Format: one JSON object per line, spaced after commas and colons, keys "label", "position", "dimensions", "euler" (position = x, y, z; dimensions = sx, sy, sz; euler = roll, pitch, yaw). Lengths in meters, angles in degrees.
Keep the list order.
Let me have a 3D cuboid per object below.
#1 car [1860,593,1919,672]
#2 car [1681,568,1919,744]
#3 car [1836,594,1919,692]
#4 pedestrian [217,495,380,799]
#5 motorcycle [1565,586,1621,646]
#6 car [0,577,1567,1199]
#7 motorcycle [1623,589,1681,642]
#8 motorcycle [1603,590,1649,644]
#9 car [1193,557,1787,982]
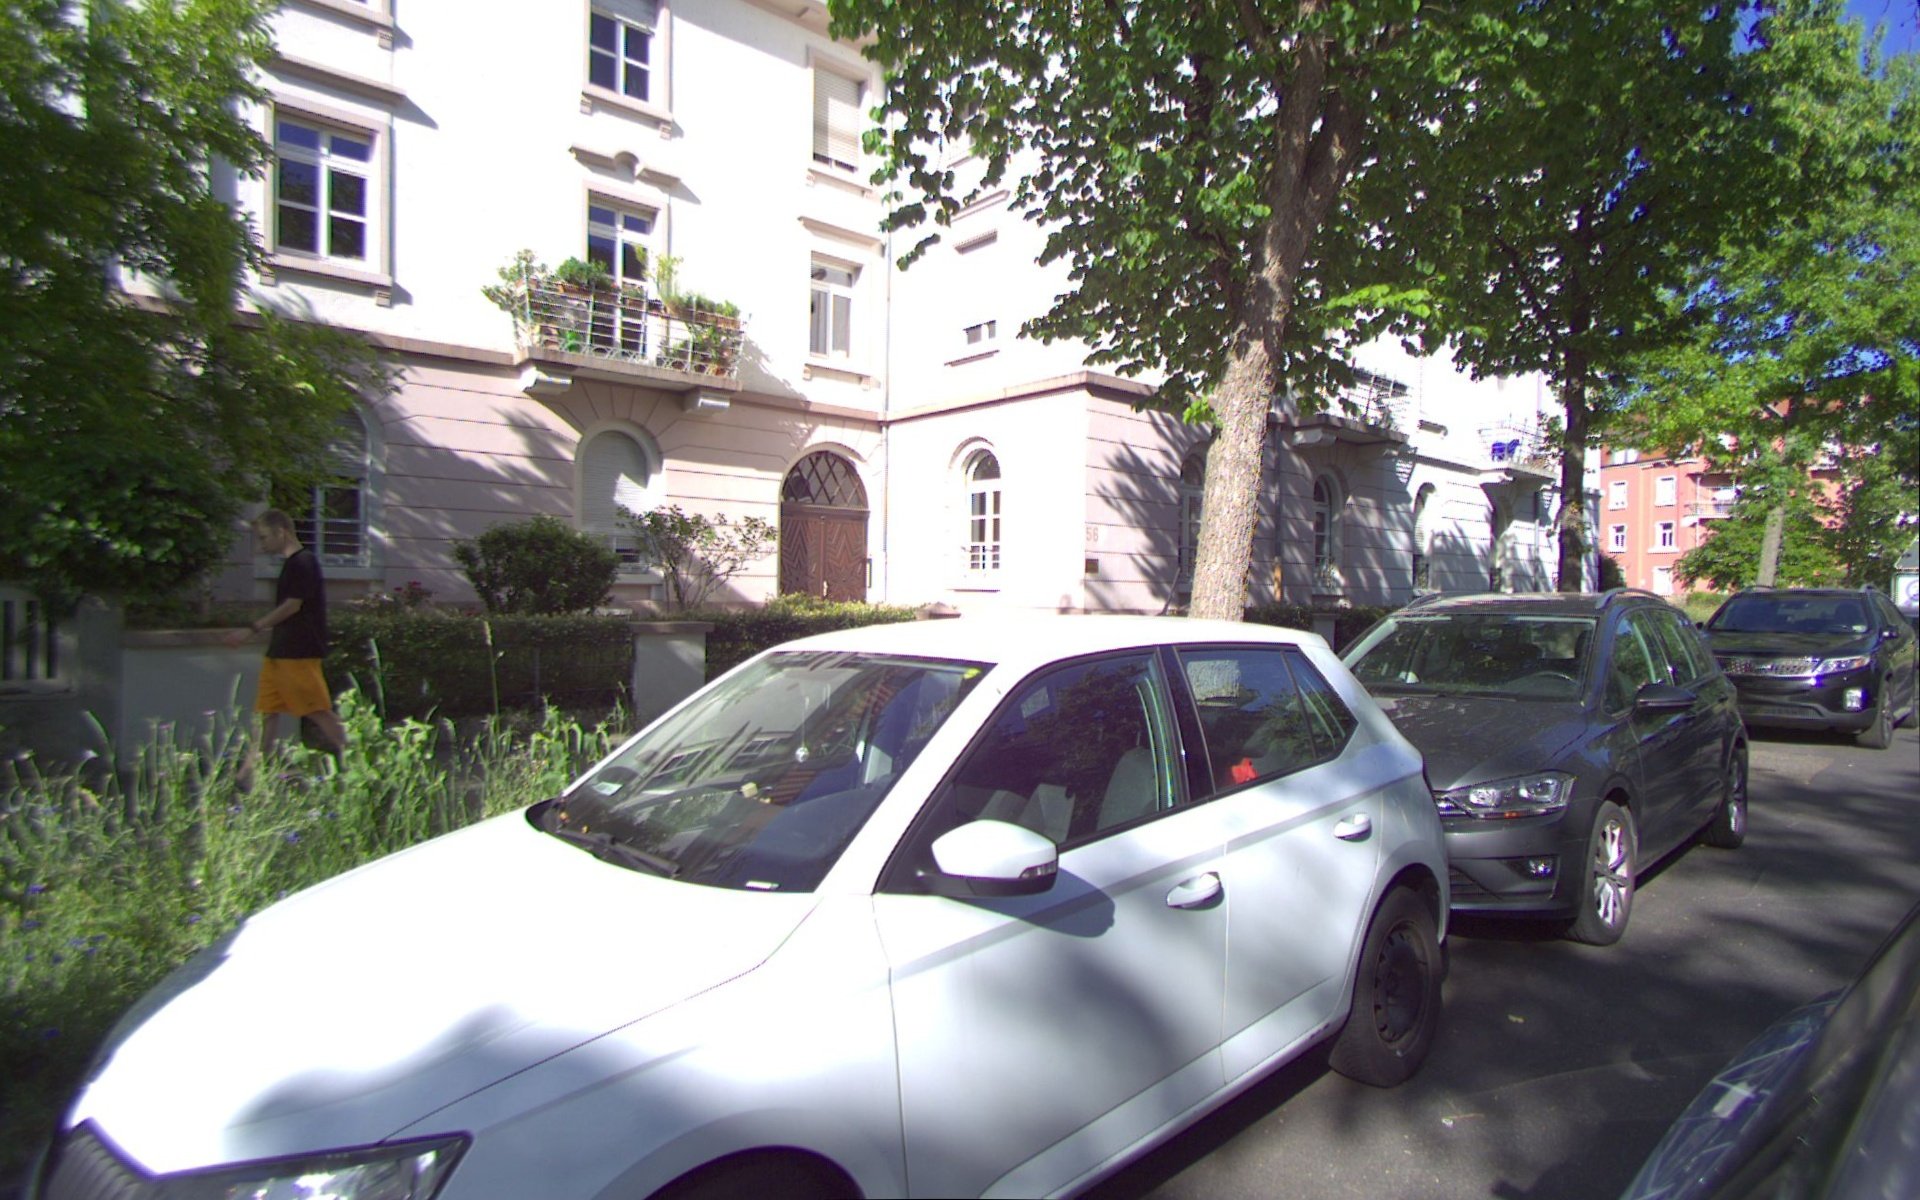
{"label": "car", "position": [19.002, 0.604, 19.782], "dimensions": [4.064, 1.419, 1.655], "euler": [0, 1, -42]}
{"label": "car", "position": [10.217, 0.527, 12.009], "dimensions": [4.223, 1.719, 1.784], "euler": [0, 1, -42]}
{"label": "car", "position": [15.555, 0.635, 16.497], "dimensions": [4.280, 1.427, 1.612], "euler": [0, 1, -45]}
{"label": "pedestrian", "position": [-4.228, 0.265, 6.469], "dimensions": [0.785, 1.797, 0.623], "euler": [0, 1, -41]}
{"label": "motorcycle", "position": [15.019, 0.360, 23.990], "dimensions": [2.053, 1.378, 0.540], "euler": [0, 1, -41]}
{"label": "car", "position": [0.064, 0.699, 2.930], "dimensions": [4.291, 1.442, 1.633], "euler": [0, 2, -41]}
{"label": "motorcycle", "position": [18.224, 0.390, 26.638], "dimensions": [0.970, 1.345, 1.824], "euler": [1, 1, 44]}
{"label": "motorcycle", "position": [16.787, 0.406, 25.491], "dimensions": [0.656, 1.295, 1.772], "euler": [4, 2, 42]}
{"label": "car", "position": [3.390, 0.657, 5.990], "dimensions": [4.458, 1.608, 1.686], "euler": [0, -1, -43]}
